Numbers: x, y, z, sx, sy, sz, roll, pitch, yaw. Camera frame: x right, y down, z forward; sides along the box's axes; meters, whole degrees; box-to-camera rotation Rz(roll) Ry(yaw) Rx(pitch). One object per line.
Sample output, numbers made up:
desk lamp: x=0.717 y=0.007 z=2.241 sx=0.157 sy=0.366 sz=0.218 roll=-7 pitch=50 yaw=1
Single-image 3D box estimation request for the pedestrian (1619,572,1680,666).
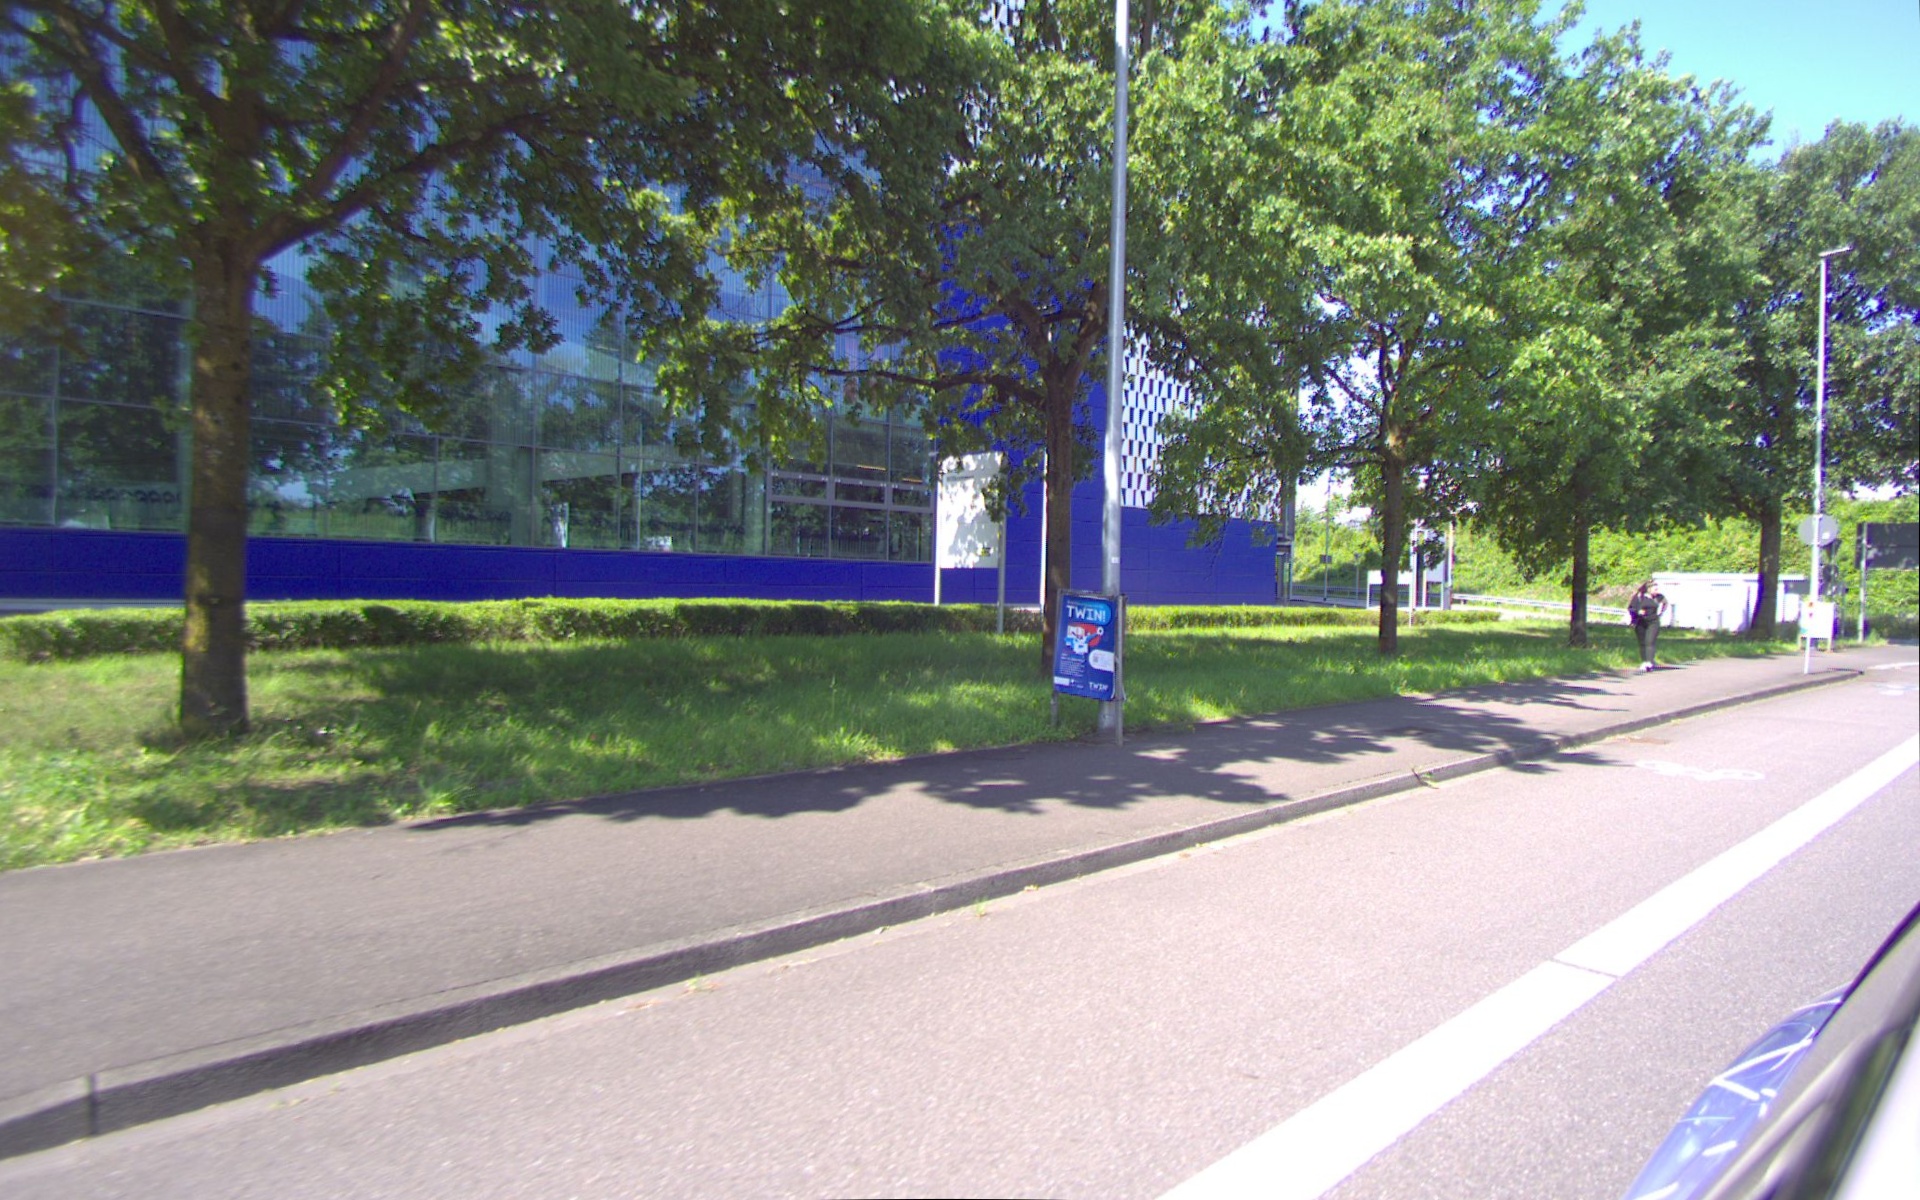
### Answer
pedestrian: x=12.346 y=0.320 z=18.117 sx=0.831 sy=1.623 sz=0.648 roll=0 pitch=1 yaw=-39
